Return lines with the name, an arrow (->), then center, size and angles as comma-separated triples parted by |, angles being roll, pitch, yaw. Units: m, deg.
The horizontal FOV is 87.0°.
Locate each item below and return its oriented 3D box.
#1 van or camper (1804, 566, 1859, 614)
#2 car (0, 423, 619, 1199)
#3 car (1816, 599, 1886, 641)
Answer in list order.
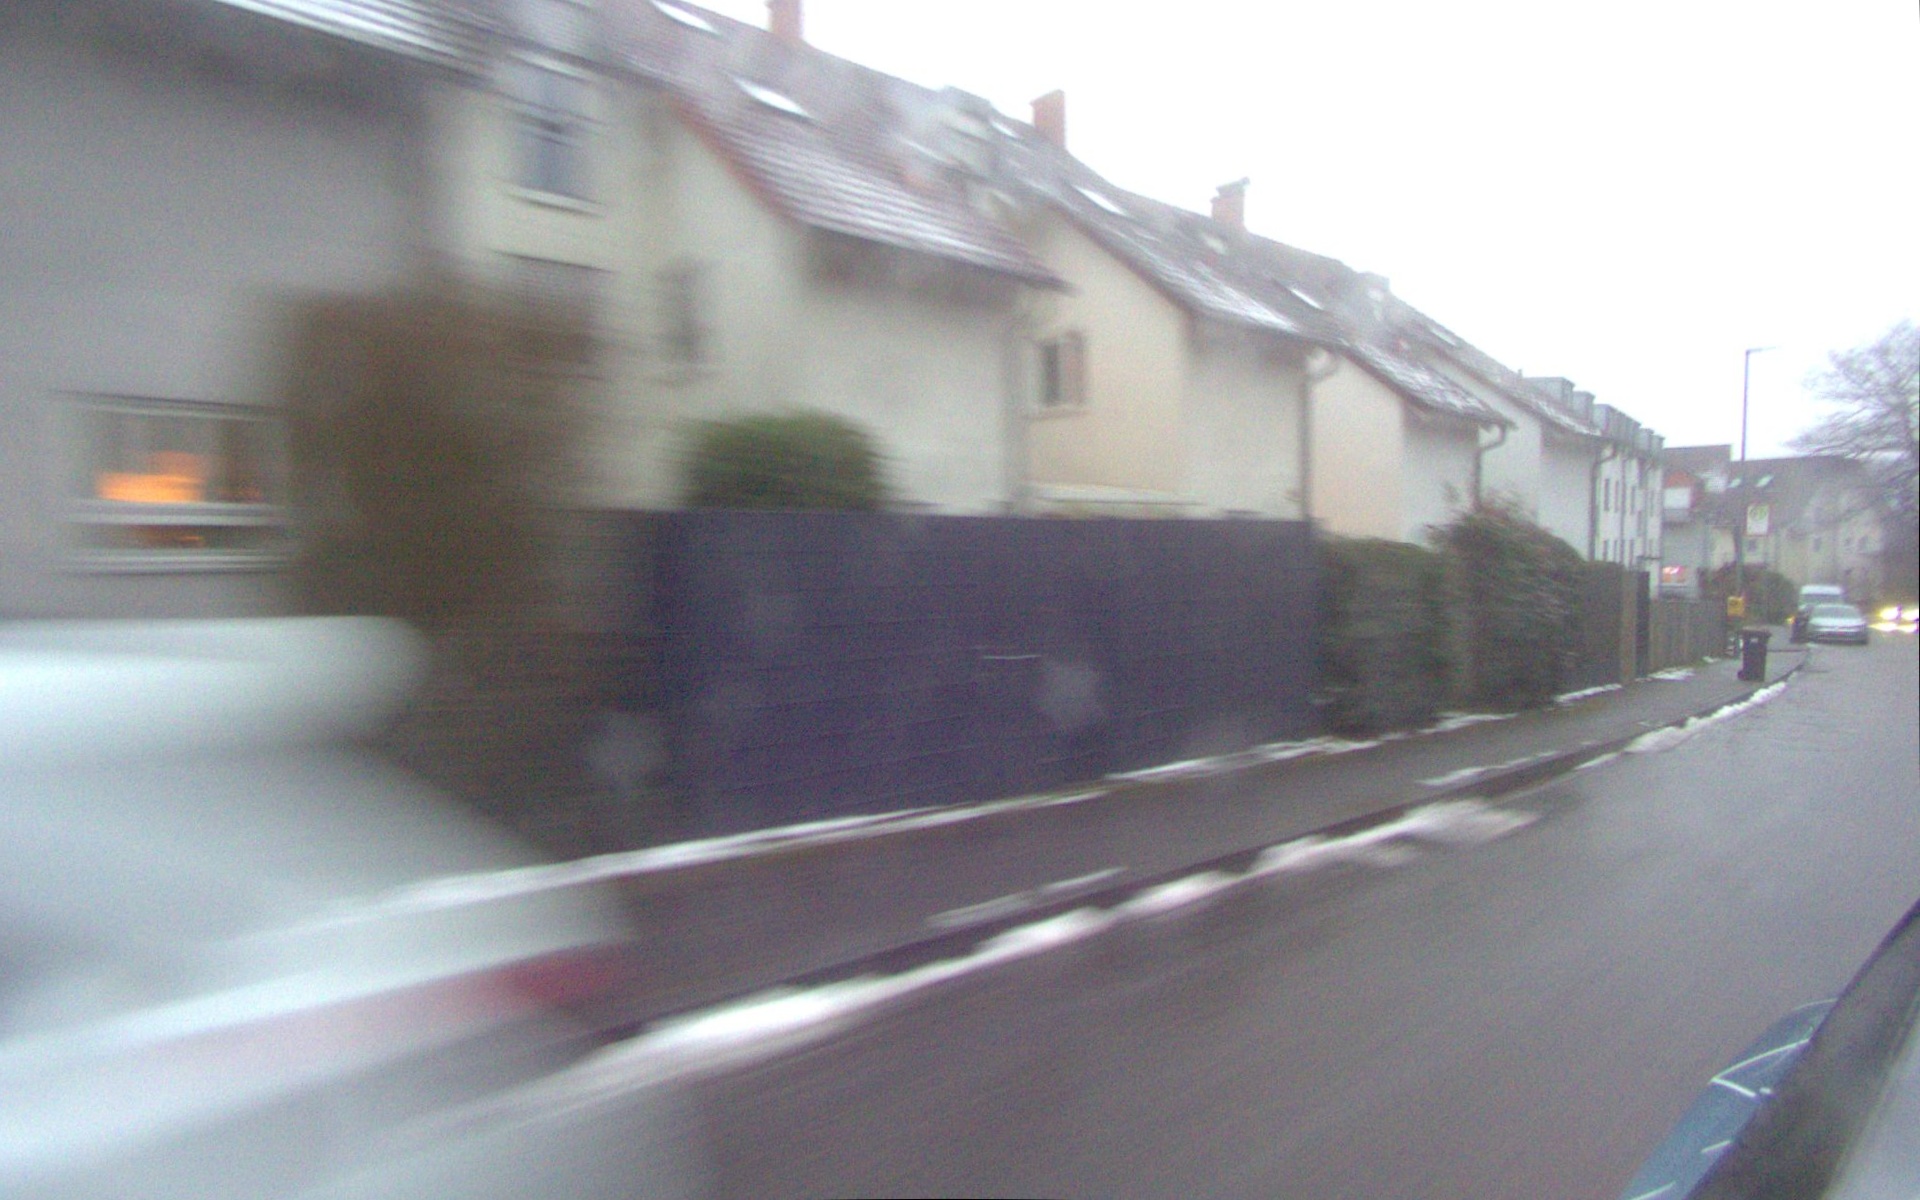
van or camper -> 49.336, -0.569, 57.397 | 2.010, 2.539, 6.699 | 2, 1, 38
car -> -2.467, 0.614, 0.618 | 3.955, 1.525, 1.706 | -1, 0, -42
car -> 33.204, 0.716, 37.808 | 1.735, 1.447, 4.394 | -1, 0, 39
